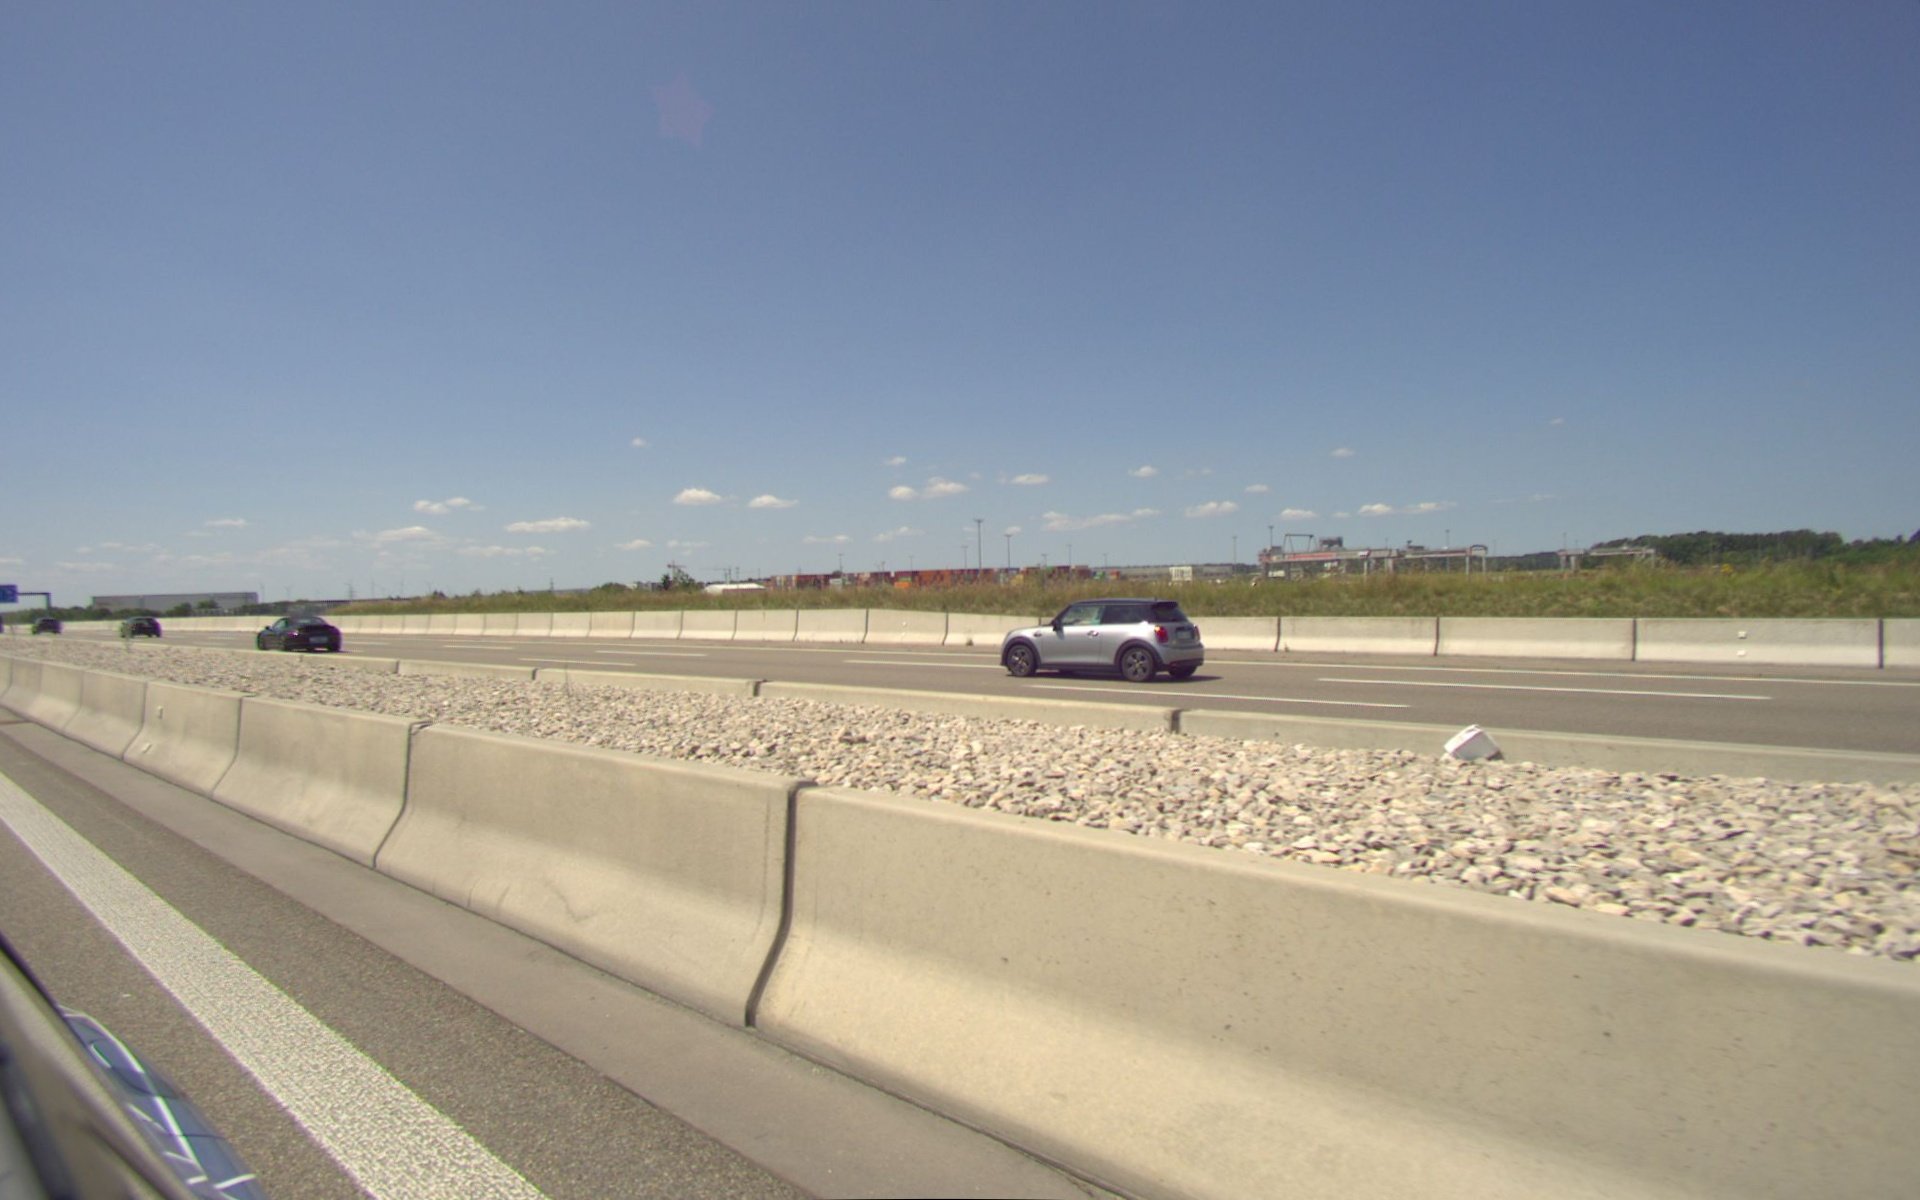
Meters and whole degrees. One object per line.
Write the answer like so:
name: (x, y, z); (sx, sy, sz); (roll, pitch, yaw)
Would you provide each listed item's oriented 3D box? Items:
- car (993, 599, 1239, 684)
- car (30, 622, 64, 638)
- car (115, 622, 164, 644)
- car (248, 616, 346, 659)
car: (2.739, 0.695, 18.216); (3.983, 1.339, 1.871); (-1, 0, 40)
car: (-88.244, 2.872, 97.763); (5.136, 1.502, 1.849); (-1, 0, 41)
car: (-55.983, 2.212, 69.032); (4.363, 1.389, 1.972); (-1, 0, 42)
car: (-23.915, 1.318, 36.442); (4.751, 1.392, 1.824); (-1, 0, 42)
